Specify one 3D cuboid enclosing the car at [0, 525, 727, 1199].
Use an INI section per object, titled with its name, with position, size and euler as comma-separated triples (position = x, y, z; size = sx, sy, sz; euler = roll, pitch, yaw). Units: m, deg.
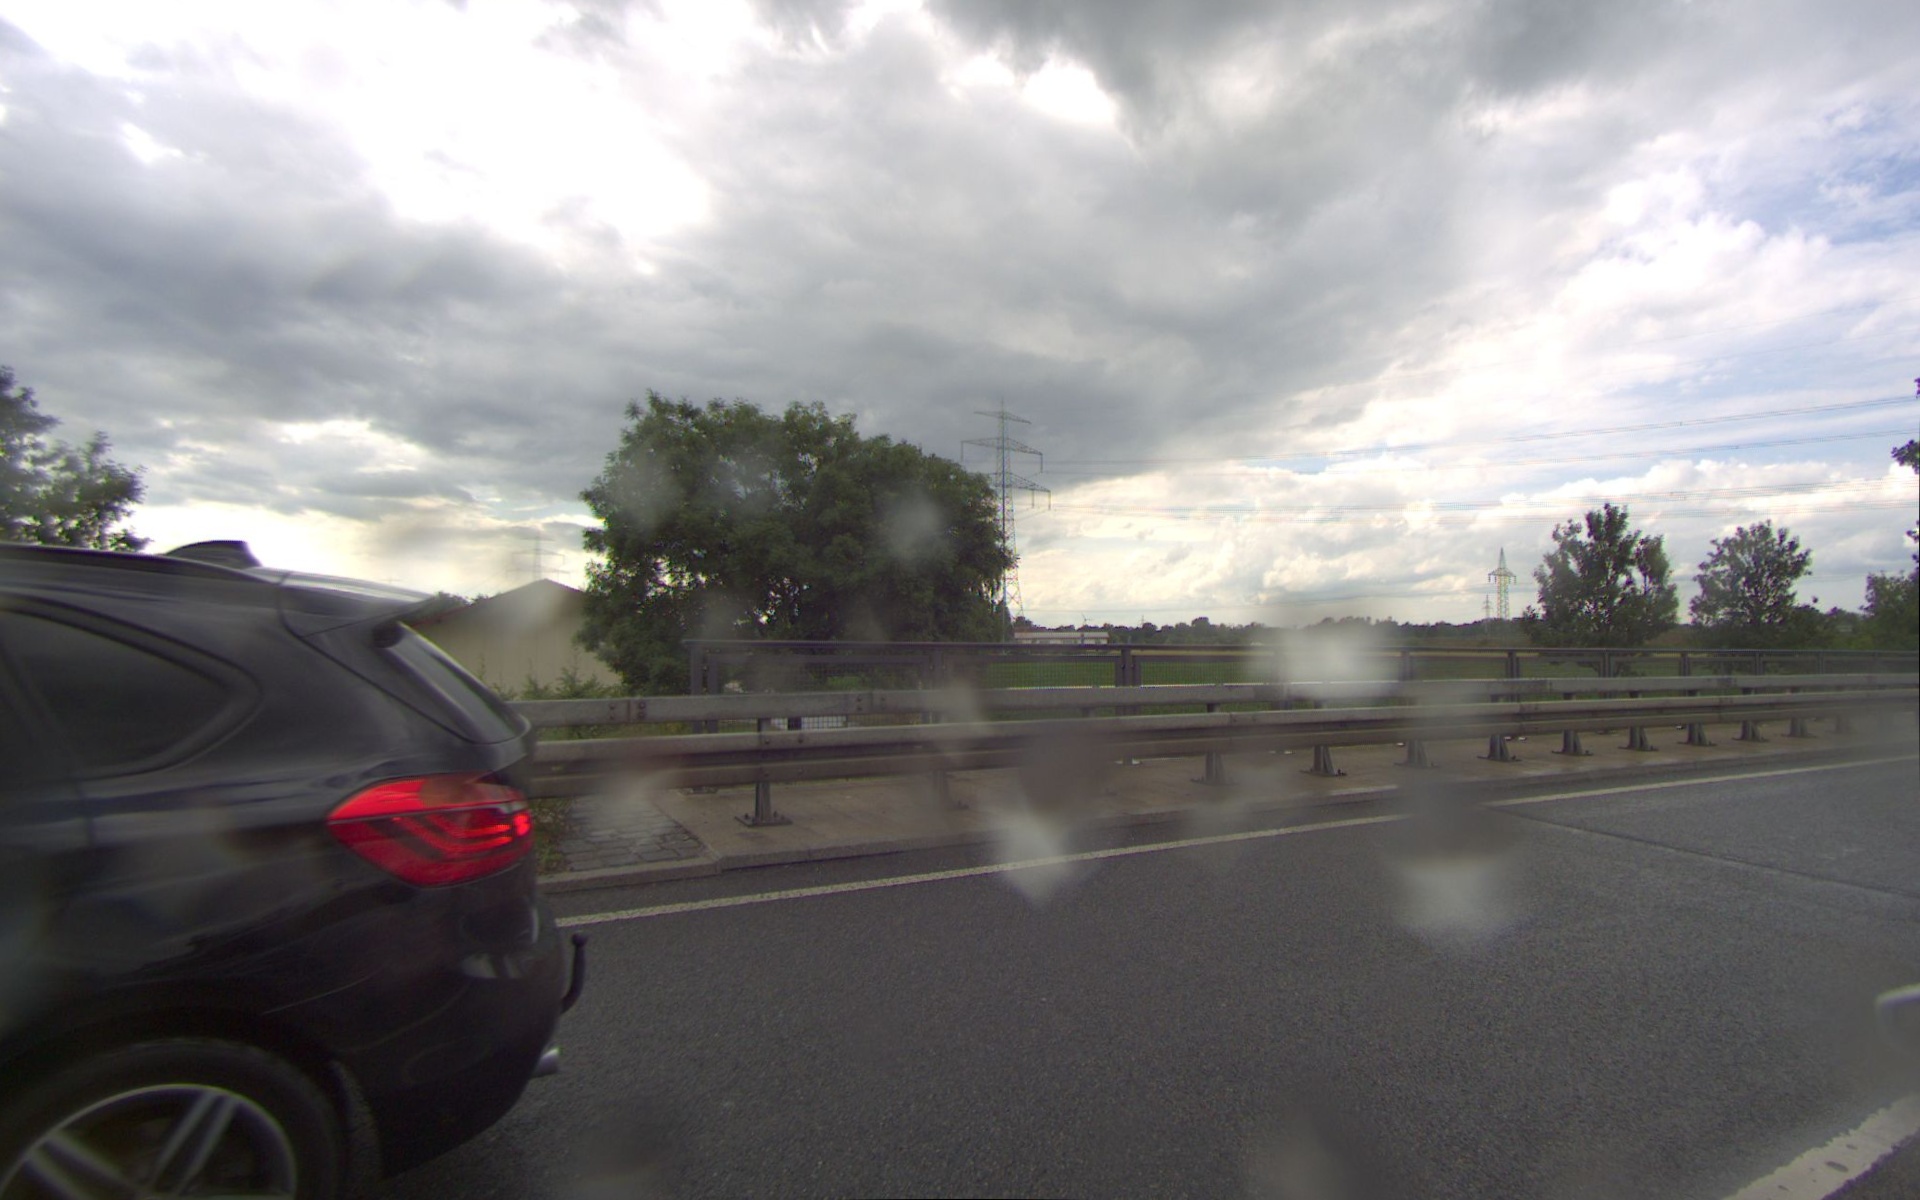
[car]
position = -2.713, 0.634, 2.066
size = 3.976, 1.562, 1.890
euler = 1, 0, -30
